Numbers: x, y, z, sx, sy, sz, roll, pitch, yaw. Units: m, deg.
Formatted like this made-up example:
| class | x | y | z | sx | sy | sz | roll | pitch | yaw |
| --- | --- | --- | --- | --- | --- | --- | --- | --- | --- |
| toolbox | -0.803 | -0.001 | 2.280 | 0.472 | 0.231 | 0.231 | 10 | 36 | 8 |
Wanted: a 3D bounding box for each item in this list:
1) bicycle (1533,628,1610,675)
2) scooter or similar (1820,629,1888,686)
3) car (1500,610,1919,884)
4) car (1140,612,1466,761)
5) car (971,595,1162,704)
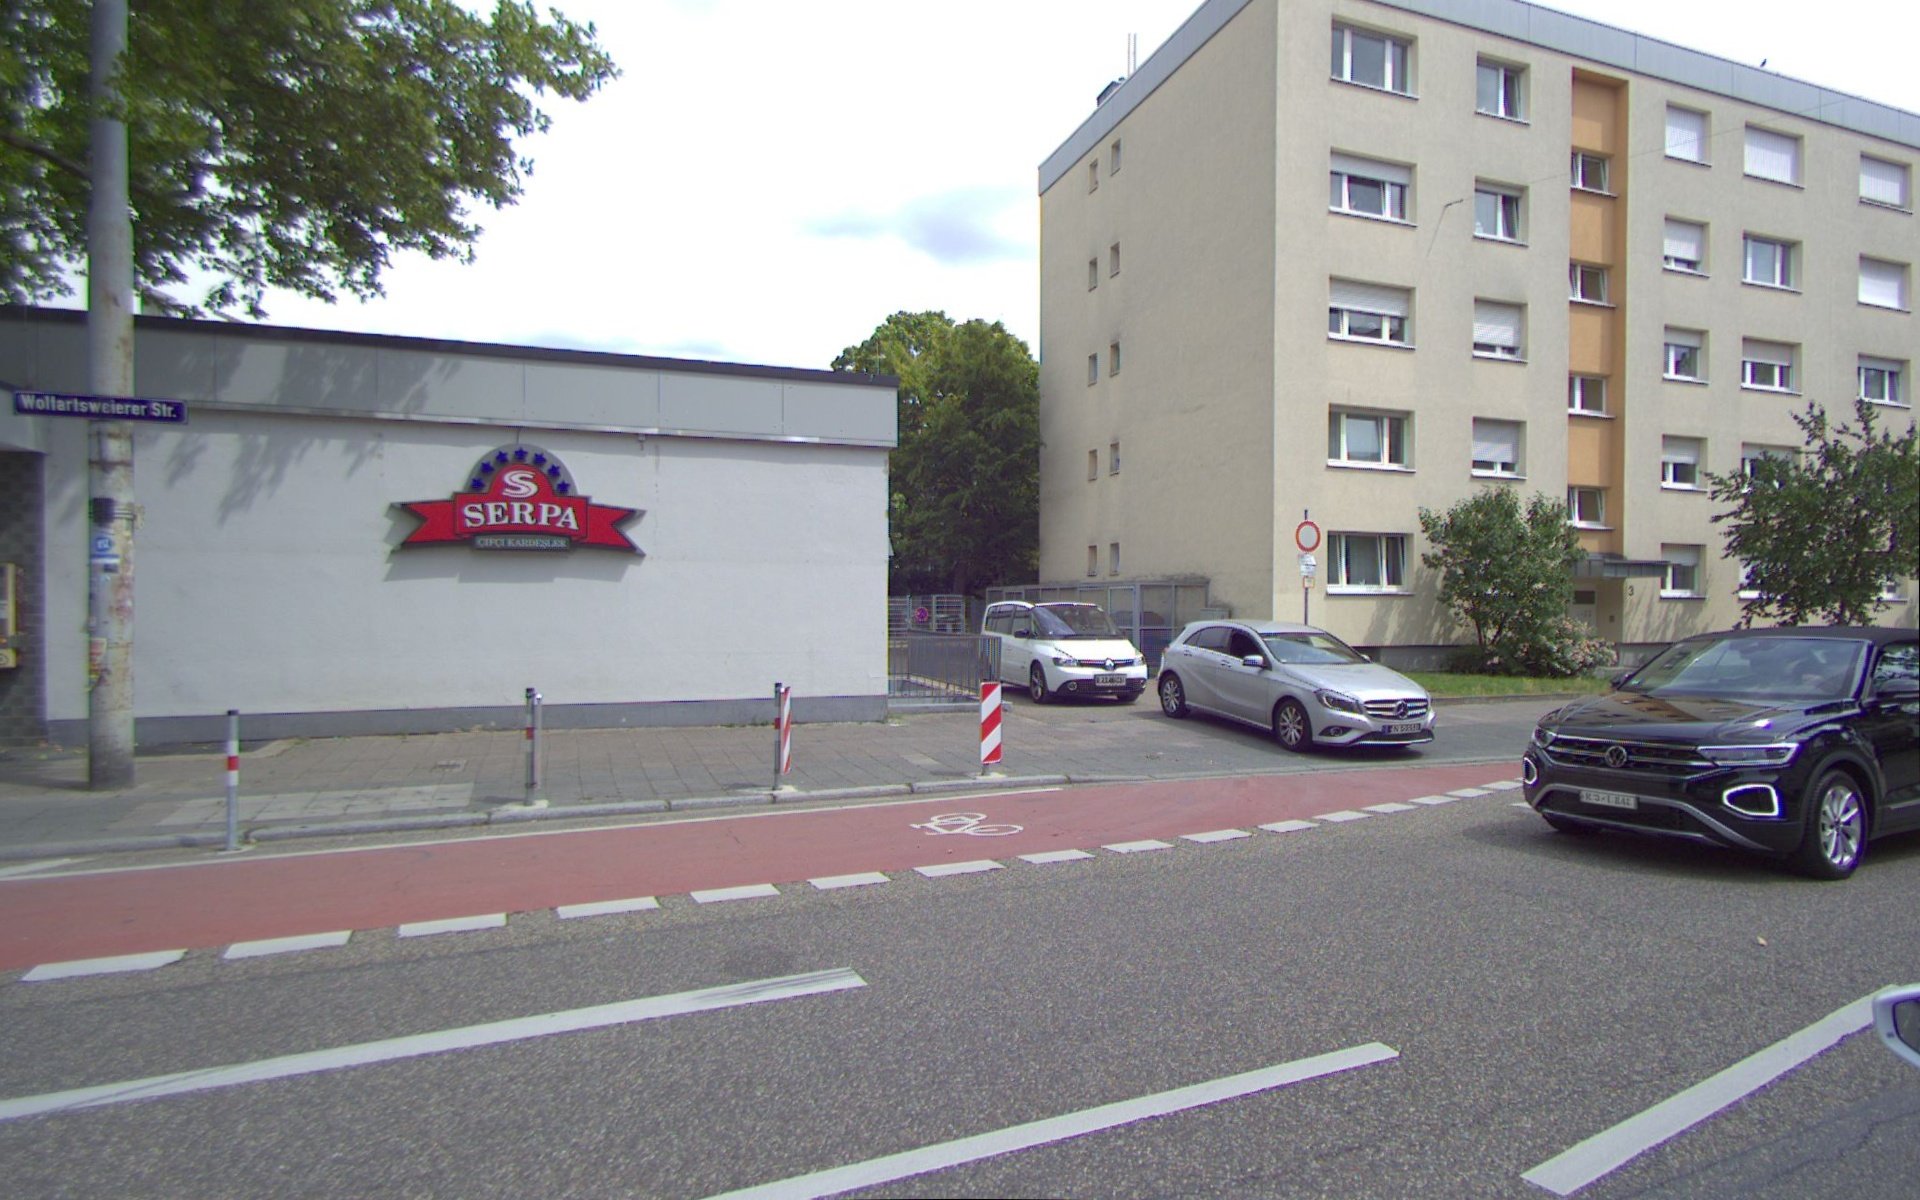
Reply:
| class | x | y | z | sx | sy | sz | roll | pitch | yaw |
| --- | --- | --- | --- | --- | --- | --- | --- | --- | --- |
| bicycle | 14.027 | 1.185 | 23.031 | 1.774 | 1.051 | 0.411 | 1 | -1 | -15 |
| scooter or similar | 19.383 | 1.247 | 21.779 | 1.267 | 1.209 | 0.402 | 1 | 1 | -12 |
| car | 6.015 | 0.862 | 7.266 | 3.945 | 1.538 | 1.692 | 0 | -2 | -25 |
| car | 4.267 | 0.977 | 13.260 | 1.822 | 1.470 | 4.164 | 0 | 1 | -21 |
| car | 1.748 | 0.843 | 18.286 | 1.819 | 1.708 | 4.630 | 0 | -2 | -17 |
